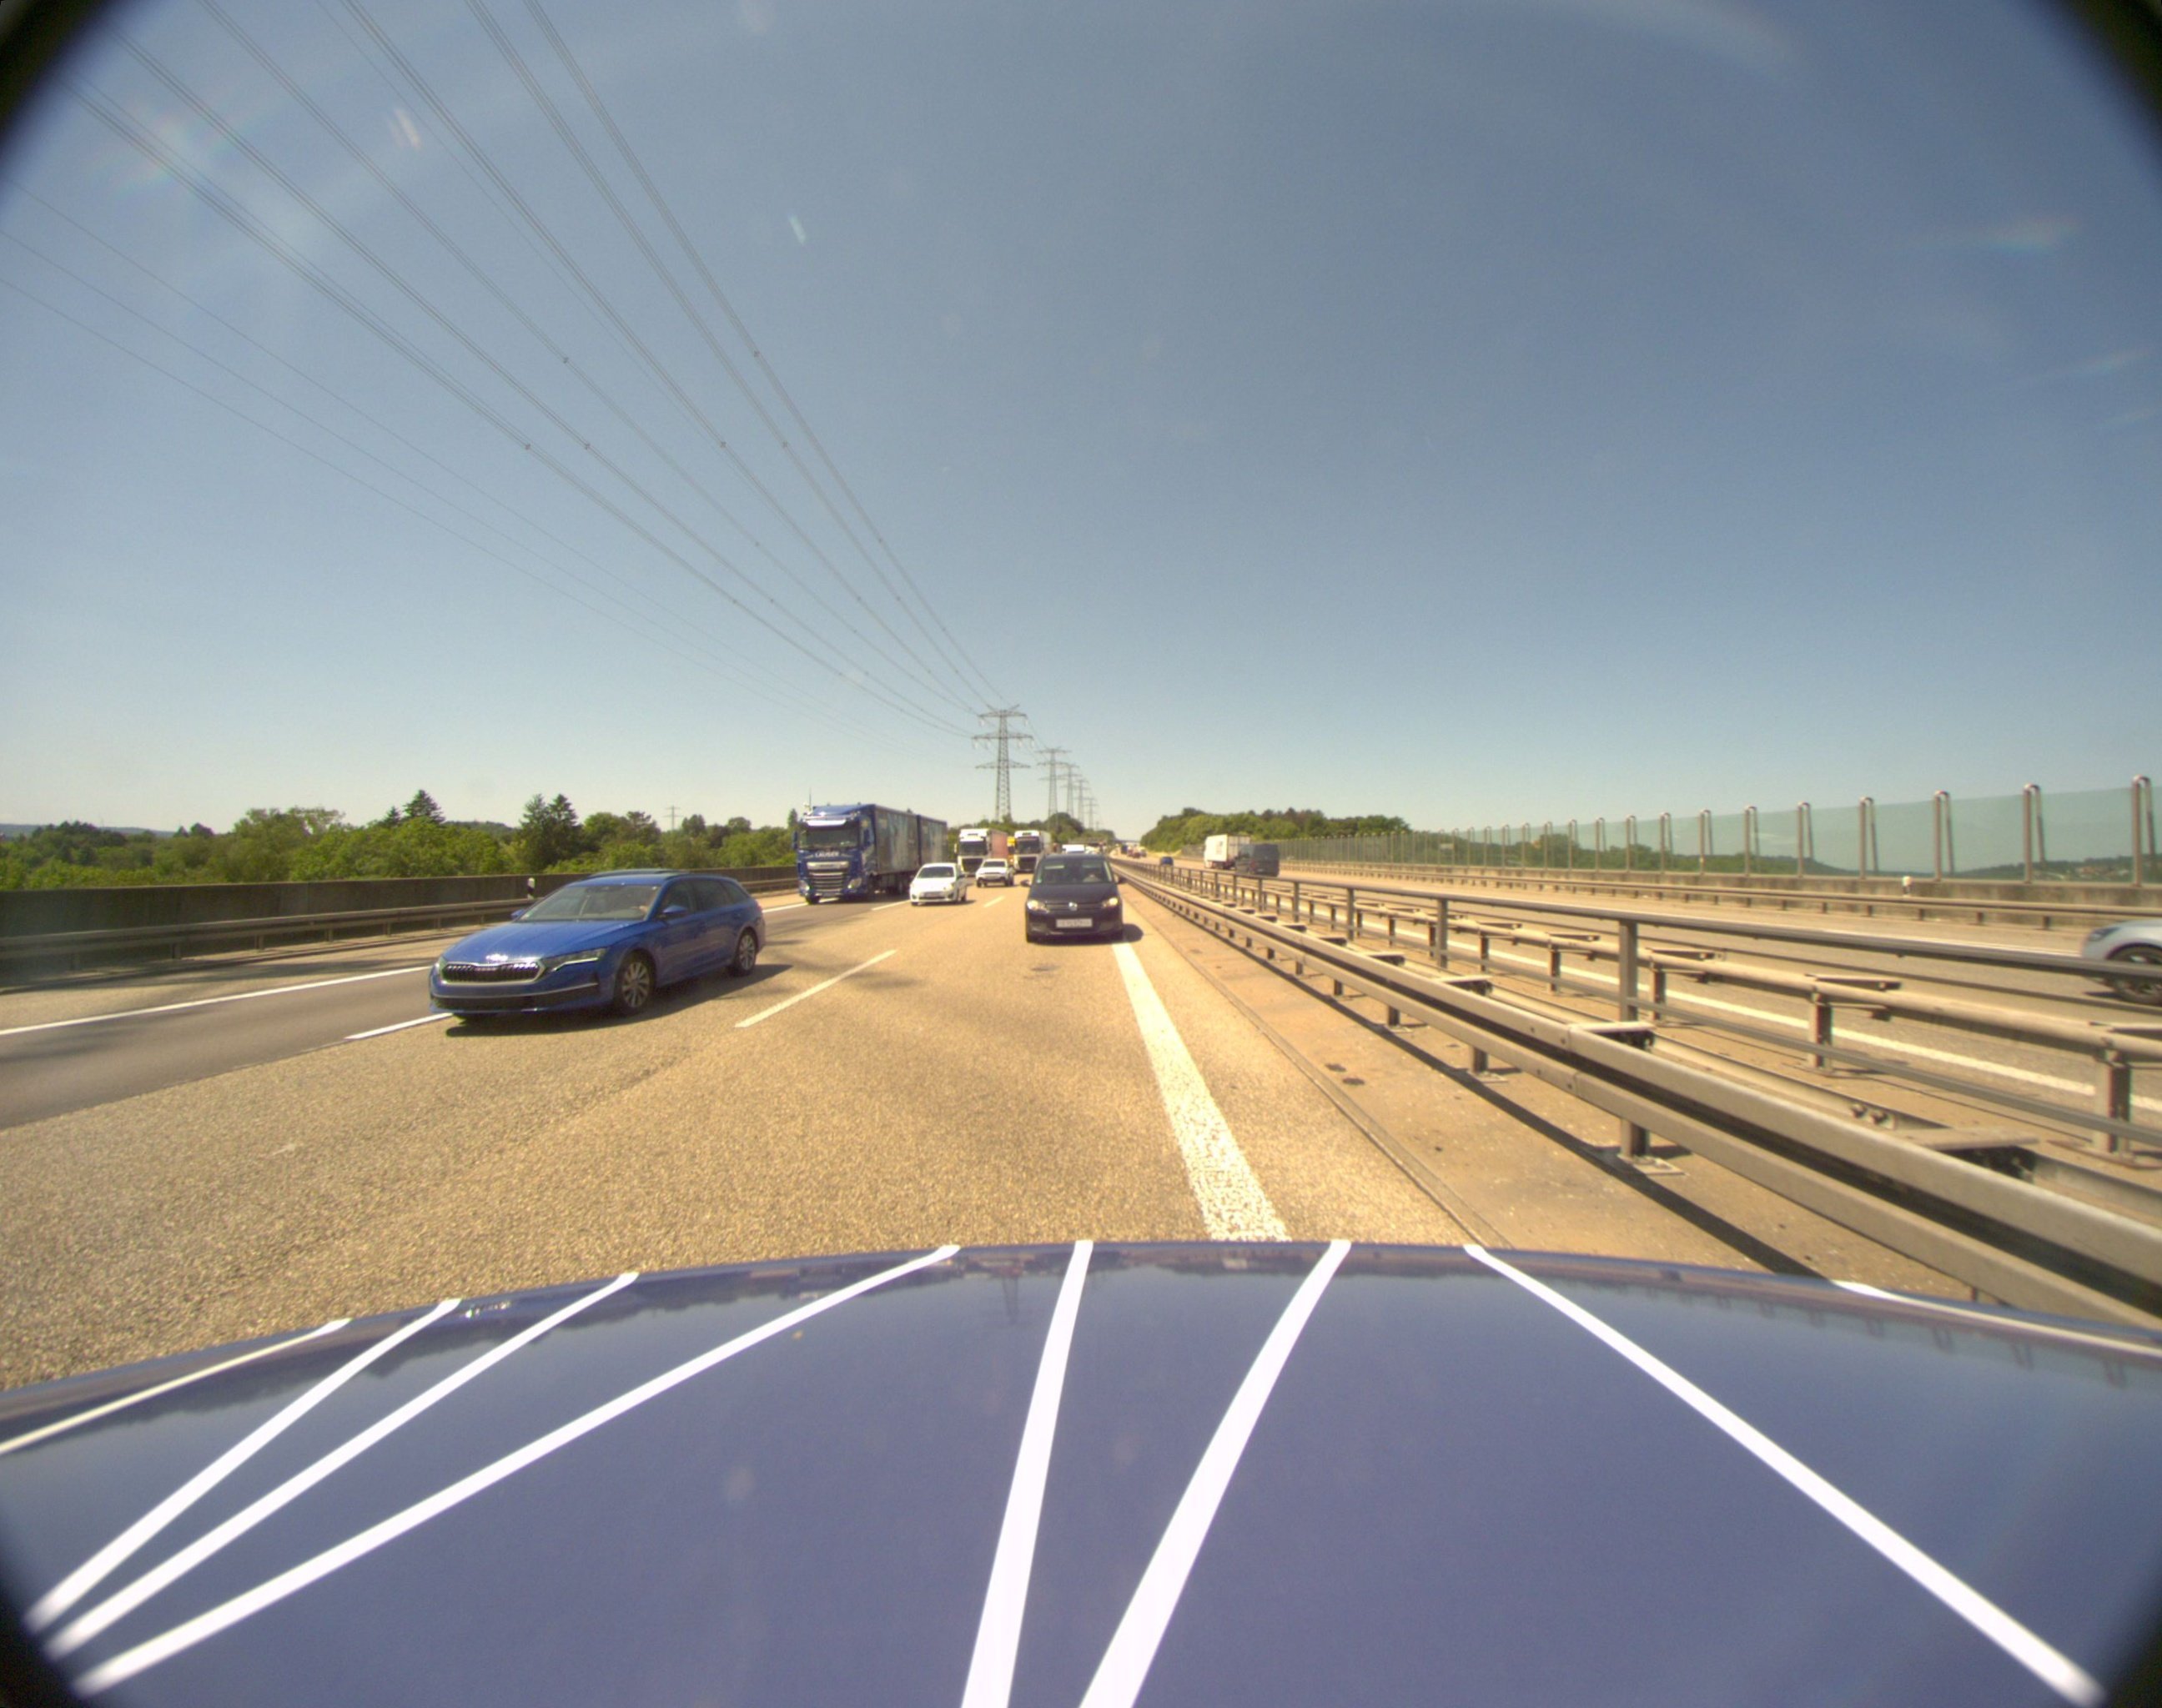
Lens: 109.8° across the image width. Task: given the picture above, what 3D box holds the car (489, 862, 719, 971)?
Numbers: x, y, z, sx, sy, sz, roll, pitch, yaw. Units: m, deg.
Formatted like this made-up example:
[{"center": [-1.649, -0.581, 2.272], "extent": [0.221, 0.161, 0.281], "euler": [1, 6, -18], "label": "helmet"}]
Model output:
[{"center": [-8.885, 1.060, 14.656], "extent": [1.712, 1.645, 4.117], "euler": [-2, 1, 1], "label": "car"}]

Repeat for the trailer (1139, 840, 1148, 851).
[{"center": [21.259, -2.812, 258.540], "extent": [2.505, 3.520, 10.902], "euler": [0, 1, 1], "label": "trailer"}]

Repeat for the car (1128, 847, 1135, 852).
[{"center": [16.356, -1.414, 246.695], "extent": [1.876, 1.434, 4.384], "euler": [1, 1, 0], "label": "car"}]

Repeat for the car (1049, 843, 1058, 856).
[{"center": [-5.714, -0.945, 157.112], "extent": [1.704, 2.525, 3.999], "euler": [2, 1, 1], "label": "car"}]

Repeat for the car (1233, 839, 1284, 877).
[{"center": [12.855, 0.231, 55.526], "extent": [1.999, 2.567, 6.649], "euler": [1, 1, -1], "label": "car"}]

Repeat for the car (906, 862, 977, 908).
[{"center": [-5.025, 1.072, 27.834], "extent": [1.712, 1.443, 4.144], "euler": [-2, 1, 1], "label": "car"}]

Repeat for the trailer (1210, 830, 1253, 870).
[{"center": [17.375, -0.550, 88.753], "extent": [2.913, 4.282, 13.661], "euler": [1, 1, 3], "label": "trailer"}]

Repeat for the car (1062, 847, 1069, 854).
[{"center": [-4.325, -0.983, 213.733], "extent": [1.704, 2.116, 3.999], "euler": [2, 1, 1], "label": "car"}]

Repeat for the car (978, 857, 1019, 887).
[{"center": [-4.599, 0.983, 42.814], "extent": [1.712, 1.501, 4.144], "euler": [-2, 1, 1], "label": "car"}]

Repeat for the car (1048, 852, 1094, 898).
[{"center": [-0.365, 0.784, 31.052], "extent": [1.713, 1.669, 3.931], "euler": [-2, 1, 0], "label": "car"}]

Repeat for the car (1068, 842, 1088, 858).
[{"center": [-0.260, -0.384, 75.242], "extent": [1.924, 1.501, 3.996], "euler": [-2, 1, 1], "label": "car"}]

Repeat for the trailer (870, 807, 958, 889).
[{"center": [-9.262, -0.359, 43.227], "extent": [2.835, 4.065, 8.637], "euler": [-2, 1, 1], "label": "trailer"}]

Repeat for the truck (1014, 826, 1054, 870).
[{"center": [-4.336, -0.612, 71.973], "extent": [2.849, 3.804, 8.264], "euler": [-2, 1, 2], "label": "truck"}]

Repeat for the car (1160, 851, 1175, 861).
[{"center": [13.025, 0.250, 114.835], "extent": [1.777, 1.483, 4.605], "euler": [0, 0, 1], "label": "car"}]

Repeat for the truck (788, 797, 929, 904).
[{"center": [-9.379, -0.196, 33.708], "extent": [2.859, 3.927, 10.393], "euler": [-2, 1, 1], "label": "truck"}]

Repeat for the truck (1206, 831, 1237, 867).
[{"center": [17.734, -0.612, 96.228], "extent": [2.935, 4.269, 6.858], "euler": [2, 1, 3], "label": "truck"}]

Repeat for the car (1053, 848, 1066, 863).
[{"center": [-3.121, 0.243, 110.100], "extent": [1.704, 2.116, 3.999], "euler": [2, 1, 1], "label": "car"}]

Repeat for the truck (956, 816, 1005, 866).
[{"center": [-8.553, -1.104, 65.726], "extent": [2.608, 3.964, 8.265], "euler": [-2, 1, 2], "label": "truck"}]

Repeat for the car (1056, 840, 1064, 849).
[{"center": [-5.078, -2.362, 184.269], "extent": [1.704, 2.116, 3.999], "euler": [2, 1, 1], "label": "car"}]

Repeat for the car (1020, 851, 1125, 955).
[{"center": [-0.129, 0.823, 14.817], "extent": [1.713, 1.669, 3.931], "euler": [-2, 1, 0], "label": "car"}]

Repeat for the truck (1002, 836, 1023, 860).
[{"center": [-8.705, -0.811, 97.065], "extent": [2.251, 2.965, 6.242], "euler": [2, 1, -1], "label": "truck"}]

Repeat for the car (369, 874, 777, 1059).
[{"center": [-5.475, 1.074, 9.108], "extent": [1.712, 1.443, 4.563], "euler": [-2, 1, 1], "label": "car"}]

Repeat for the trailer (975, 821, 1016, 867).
[{"center": [-8.209, -0.966, 74.429], "extent": [2.608, 4.094, 9.085], "euler": [-2, 1, 2], "label": "trailer"}]

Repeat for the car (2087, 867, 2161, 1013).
[{"center": [12.444, 0.948, 6.445], "extent": [1.998, 1.535, 4.385], "euler": [1, 1, 1], "label": "car"}]

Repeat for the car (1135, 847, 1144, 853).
[{"center": [16.065, -1.141, 209.055], "extent": [1.844, 1.812, 4.746], "euler": [0, 1, -1], "label": "car"}]

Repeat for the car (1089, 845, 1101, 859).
[{"center": [2.223, -0.354, 120.967], "extent": [1.704, 2.116, 3.999], "euler": [-2, 1, 1], "label": "car"}]
